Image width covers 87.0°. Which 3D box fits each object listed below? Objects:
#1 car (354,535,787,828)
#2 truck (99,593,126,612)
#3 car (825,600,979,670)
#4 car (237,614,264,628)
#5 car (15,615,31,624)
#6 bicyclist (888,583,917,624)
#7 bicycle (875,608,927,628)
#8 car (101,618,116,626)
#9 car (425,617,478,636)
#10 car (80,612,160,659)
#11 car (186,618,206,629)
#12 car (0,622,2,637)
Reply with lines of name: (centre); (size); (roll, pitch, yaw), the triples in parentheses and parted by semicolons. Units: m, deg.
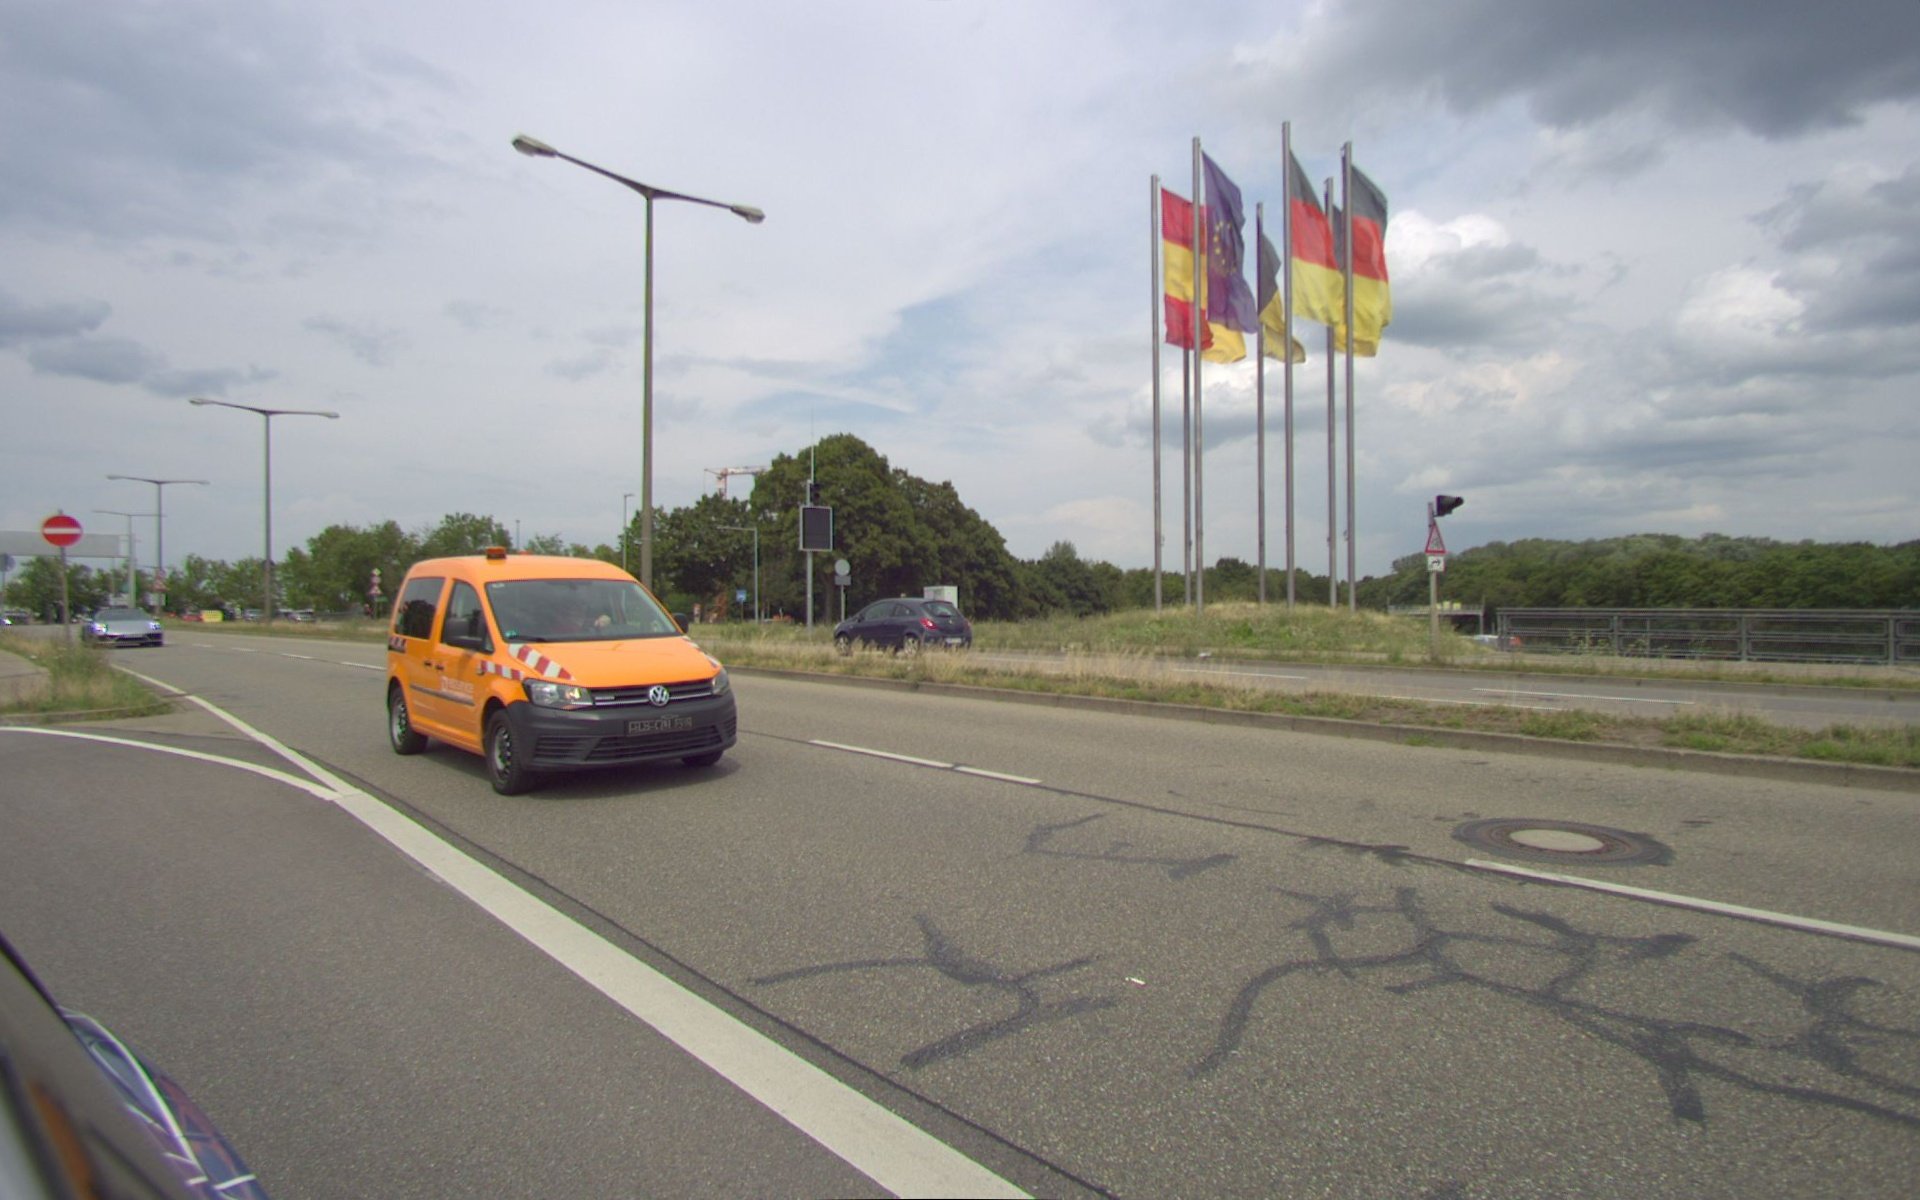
car: (-3.533, 0.511, 8.649); (1.866, 1.849, 4.434); (-2, 1, -44)
truck: (-91.894, 0.239, 109.695); (1.970, 2.029, 4.003); (-1, 0, -44)
car: (-1.452, 0.797, 24.417); (1.672, 1.505, 3.686); (-2, 1, -44)
car: (-70.272, 2.063, 100.196); (1.671, 1.246, 3.472); (-2, 1, -44)
car: (-141.680, 2.935, 152.959); (1.671, 1.246, 3.472); (-2, 1, -44)
bicyclist: (-2.243, 0.129, 39.448); (0.808, 1.604, 0.737); (-1, 0, -43)
bicycle: (-2.300, 0.687, 39.490); (0.808, 0.739, 2.224); (-1, 0, -42)
car: (-137.476, 3.502, 163.380); (1.671, 1.246, 3.472); (-2, 1, -44)
car: (-43.022, 2.243, 85.715); (3.587, 1.475, 1.698); (-1, 1, -3)
car: (-27.995, 1.127, 33.712); (3.685, 1.422, 1.672); (-1, 1, 45)
car: (-91.047, 2.756, 120.594); (1.448, 1.246, 3.472); (-2, 1, -44)
car: (-82.960, 2.541, 86.517); (1.536, 1.246, 3.472); (-2, 1, -44)
